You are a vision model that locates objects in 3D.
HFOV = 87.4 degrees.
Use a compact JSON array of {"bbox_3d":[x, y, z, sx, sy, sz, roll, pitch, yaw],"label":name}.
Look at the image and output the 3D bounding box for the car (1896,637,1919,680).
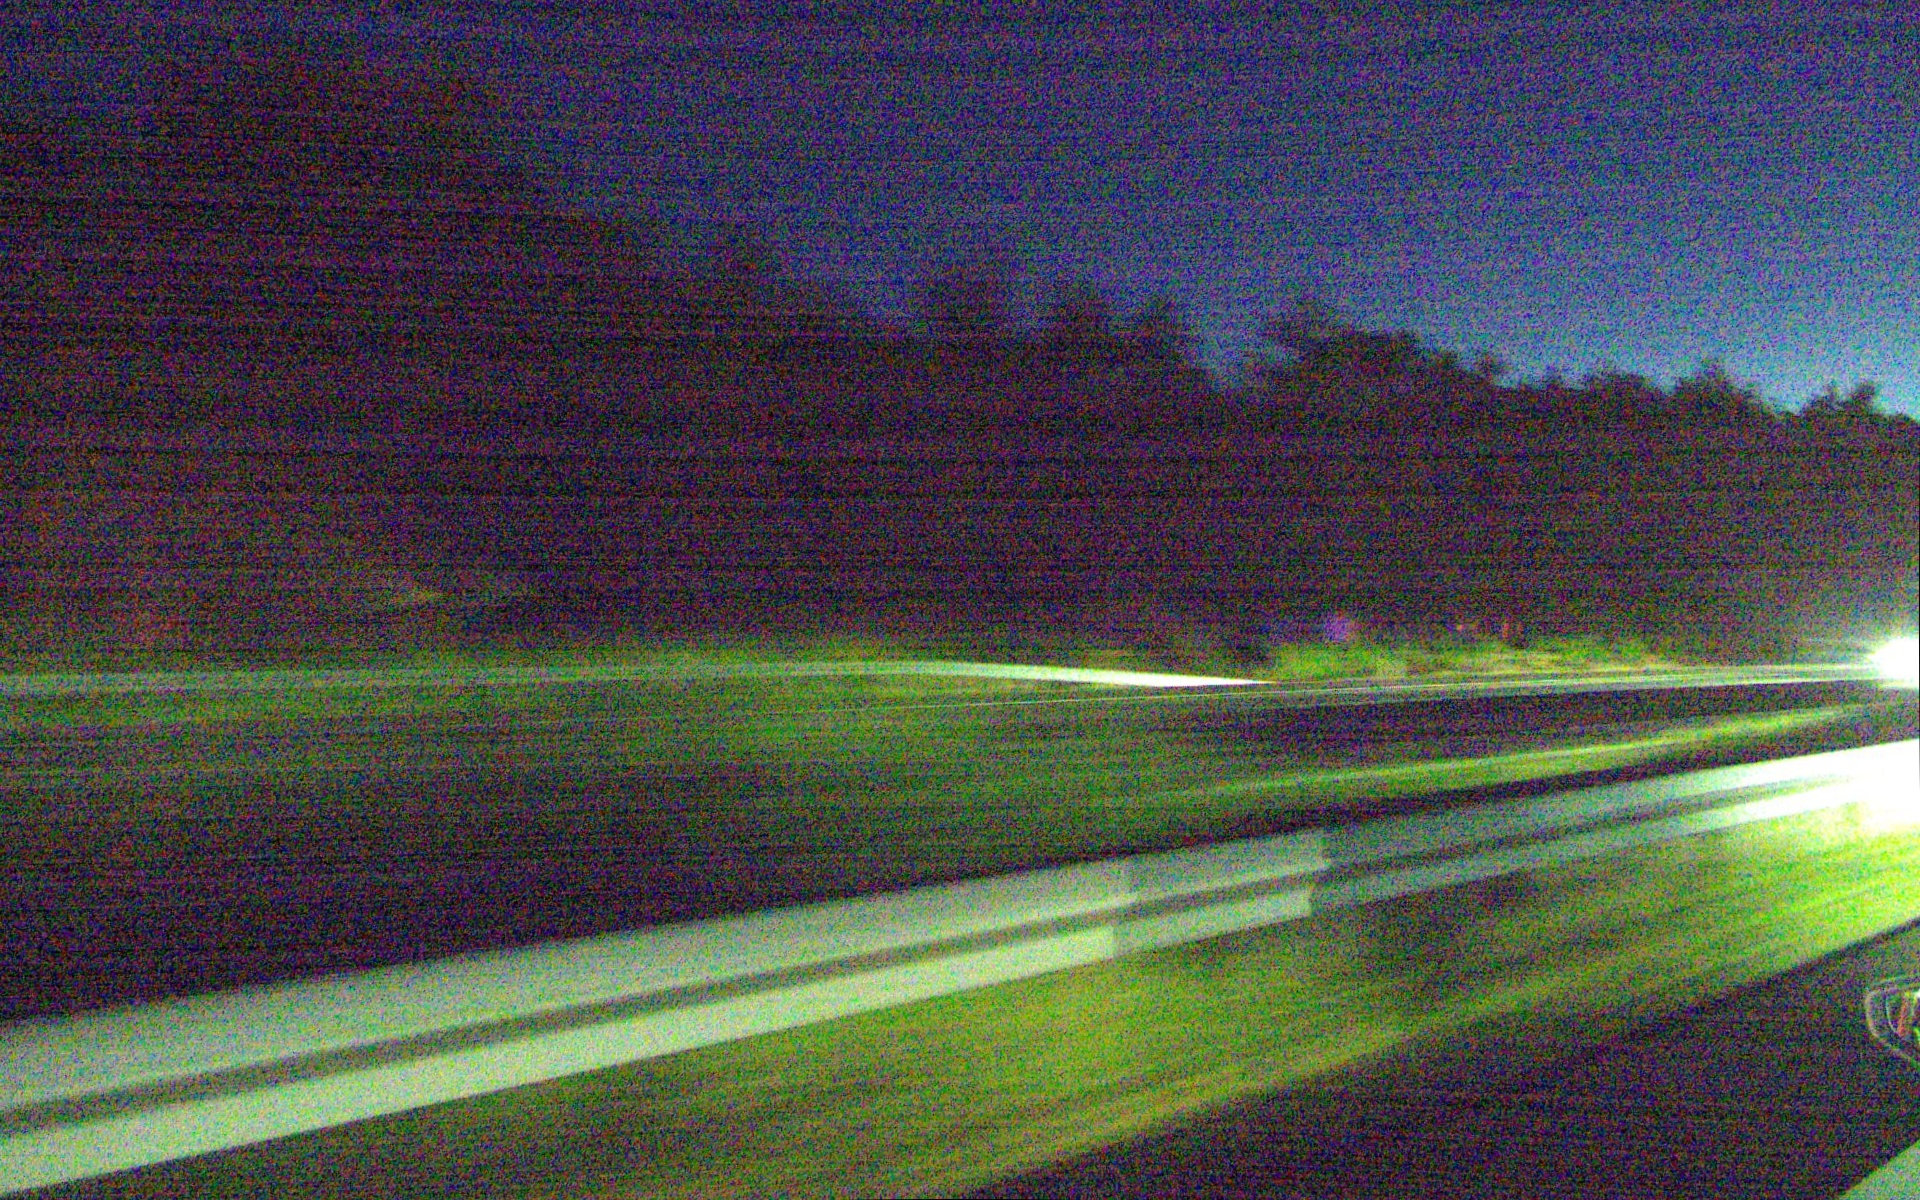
[{"bbox_3d":[33.906,1.964,33.849,5.640,1.412,1.984,1,-2,-31],"label":"car"}]
